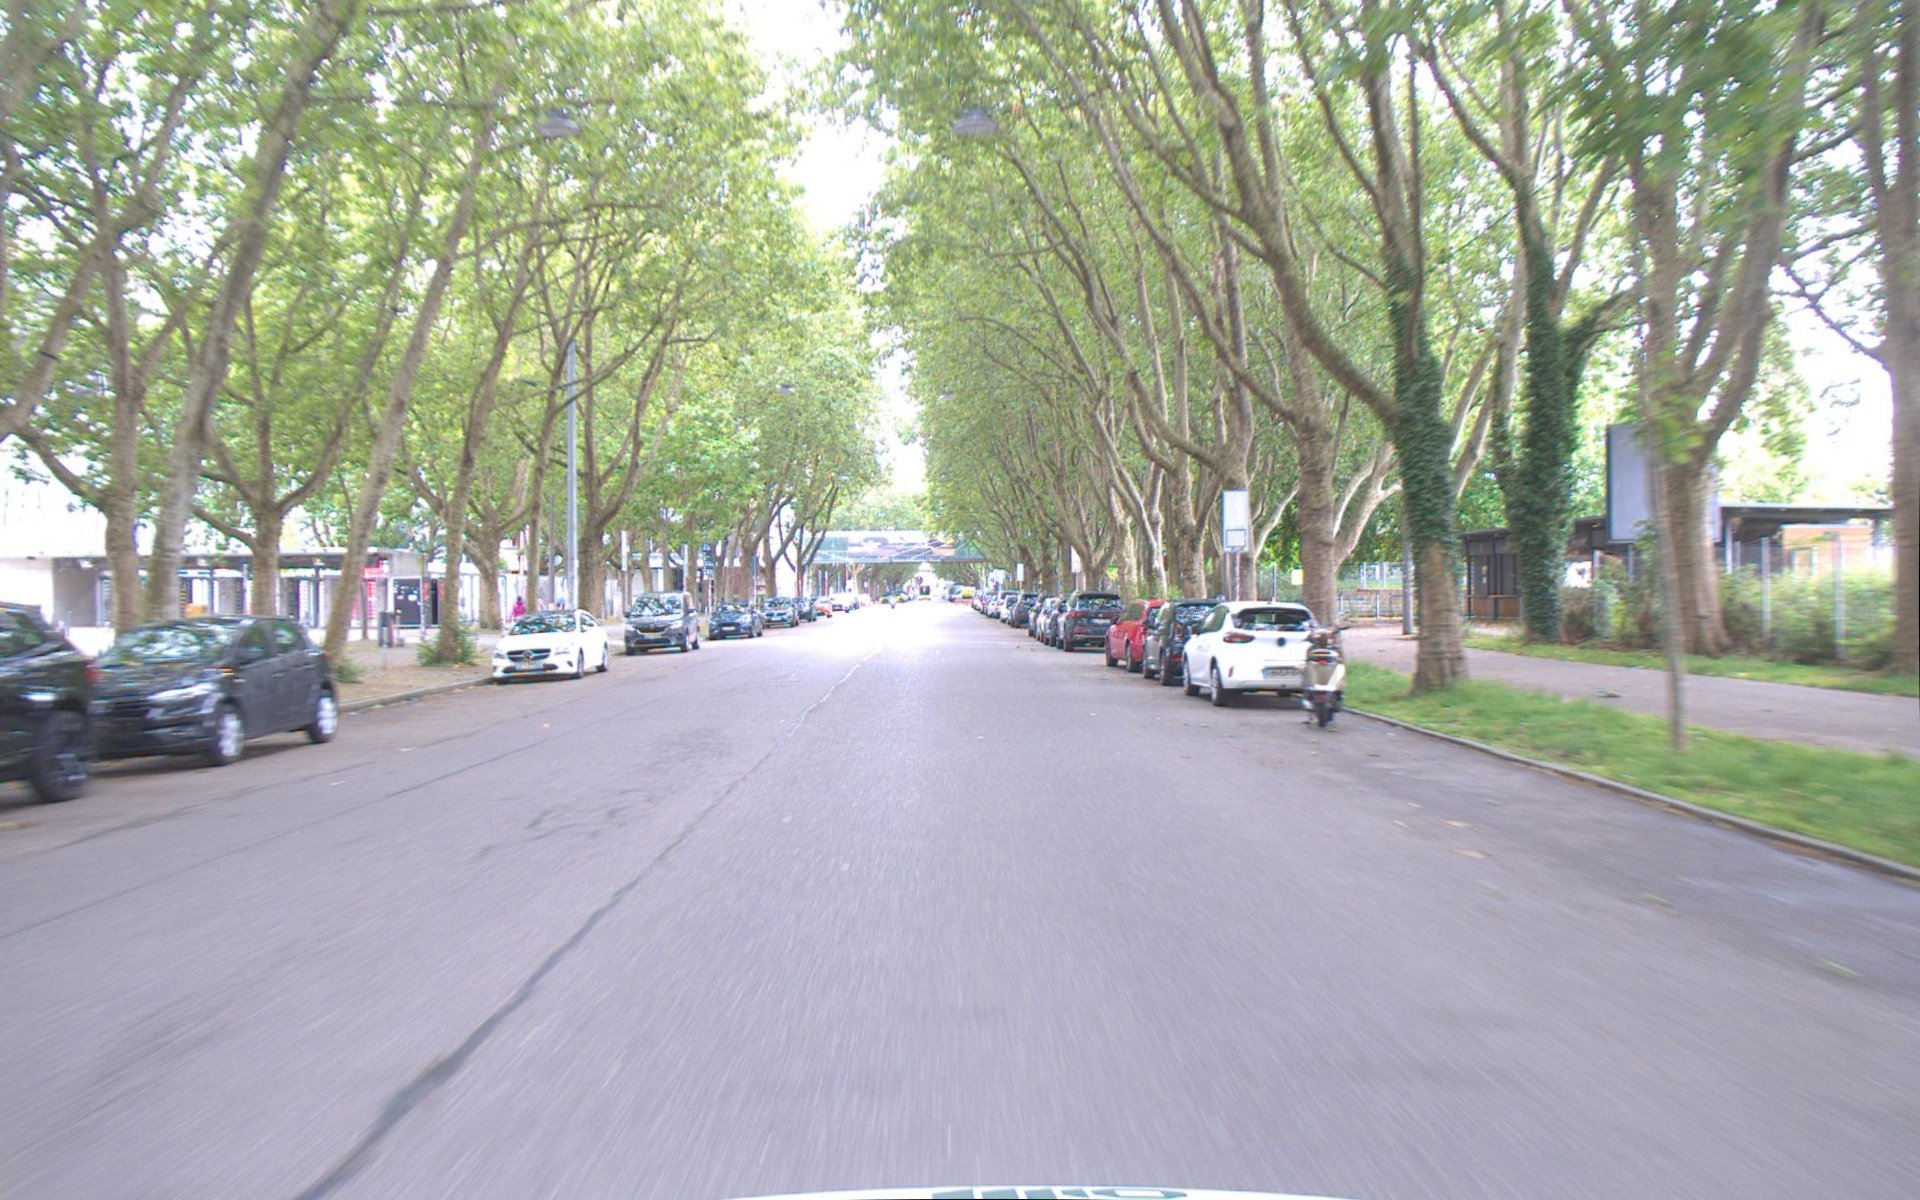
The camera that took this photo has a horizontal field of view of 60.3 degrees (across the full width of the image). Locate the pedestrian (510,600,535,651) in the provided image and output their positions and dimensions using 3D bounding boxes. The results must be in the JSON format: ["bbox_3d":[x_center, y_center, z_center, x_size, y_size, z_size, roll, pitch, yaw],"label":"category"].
[{"bbox_3d":[-15.334,0.886,57.967,0.562,1.772,0.768,-1,0,14],"label":"pedestrian"}]

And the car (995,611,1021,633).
[{"bbox_3d":[3.612,1.630,125.285,1.766,1.583,3.999,-1,0,-2],"label":"car"}]

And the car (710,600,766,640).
[{"bbox_3d":[-8.914,0.779,66.783,1.689,1.512,4.573,-1,0,-1],"label":"car"}]

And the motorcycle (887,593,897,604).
[{"bbox_3d":[-6.393,-0.137,155.034,0.856,1.098,3.050,-1,0,-4],"label":"motorcycle"}]

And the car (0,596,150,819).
[{"bbox_3d":[-8.195,0.875,12.188,1.898,1.671,4.928,-4,0,0],"label":"car"}]

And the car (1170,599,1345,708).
[{"bbox_3d":[4.312,0.725,24.573,1.700,1.463,4.121,-1,0,-2],"label":"car"}]

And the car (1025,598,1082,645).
[{"bbox_3d":[3.490,0.775,62.541,1.741,1.702,4.636,0,0,-2],"label":"car"}]

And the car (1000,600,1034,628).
[{"bbox_3d":[3.038,0.724,88.756,1.672,1.452,3.888,1,0,-1],"label":"car"}]

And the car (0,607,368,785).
[{"bbox_3d":[-8.075,0.908,17.746,1.796,1.520,4.442,-4,0,-1],"label":"car"}]

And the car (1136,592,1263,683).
[{"bbox_3d":[4.280,0.642,30.126,1.695,1.496,4.080,2,0,0],"label":"car"}]

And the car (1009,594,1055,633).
[{"bbox_3d":[3.254,0.595,75.664,1.673,1.728,4.628,1,0,-2],"label":"car"}]

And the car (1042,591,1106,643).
[{"bbox_3d":[3.556,0.525,52.241,1.634,1.535,4.353,1,0,-1],"label":"car"}]

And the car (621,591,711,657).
[{"bbox_3d":[-8.682,0.683,49.213,1.910,1.781,4.637,-2,0,-1],"label":"car"}]

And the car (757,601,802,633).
[{"bbox_3d":[-9.205,0.852,84.668,1.840,1.553,4.150,-2,0,-1],"label":"car"}]

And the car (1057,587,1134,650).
[{"bbox_3d":[3.742,0.493,46.289,1.720,1.648,4.438,1,0,-1],"label":"car"}]

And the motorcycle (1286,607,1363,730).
[{"bbox_3d":[4.266,0.770,19.461,0.697,1.355,1.994,0,0,7],"label":"motorcycle"}]

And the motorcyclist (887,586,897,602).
[{"bbox_3d":[-6.403,-0.566,155.058,0.853,1.506,1.264,-1,0,-4],"label":"motorcyclist"}]

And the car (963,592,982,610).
[{"bbox_3d":[1.279,0.165,171.842,1.810,1.814,5.210,1,0,-1],"label":"car"}]

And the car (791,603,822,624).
[{"bbox_3d":[-10.563,0.900,114.142,1.771,1.378,3.999,-1,0,-1],"label":"car"}]

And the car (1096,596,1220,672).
[{"bbox_3d":[4.092,0.662,34.922,1.683,1.464,4.624,1,0,-5],"label":"car"}]

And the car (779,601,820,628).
[{"bbox_3d":[-9.337,0.817,96.345,1.789,1.491,4.628,-2,0,1],"label":"car"}]

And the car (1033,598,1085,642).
[{"bbox_3d":[3.472,0.688,58.508,1.583,1.466,3.710,1,0,0],"label":"car"}]

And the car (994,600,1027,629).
[{"bbox_3d":[3.110,0.892,102.561,1.864,1.769,4.505,0,0,-1],"label":"car"}]

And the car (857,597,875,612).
[{"bbox_3d":[-10.856,0.535,190.743,1.955,1.629,3.995,0,0,-6],"label":"car"}]

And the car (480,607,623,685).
[{"bbox_3d":[-8.689,0.935,35.605,1.865,1.427,4.750,-4,0,-1],"label":"car"}]

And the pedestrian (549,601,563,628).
[{"bbox_3d":[-23.802,0.842,97.420,0.654,1.571,0.660,0,0,0],"label":"pedestrian"}]

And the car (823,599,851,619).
[{"bbox_3d":[-10.317,0.736,138.701,2.031,1.590,4.755,-1,0,-1],"label":"car"}]
